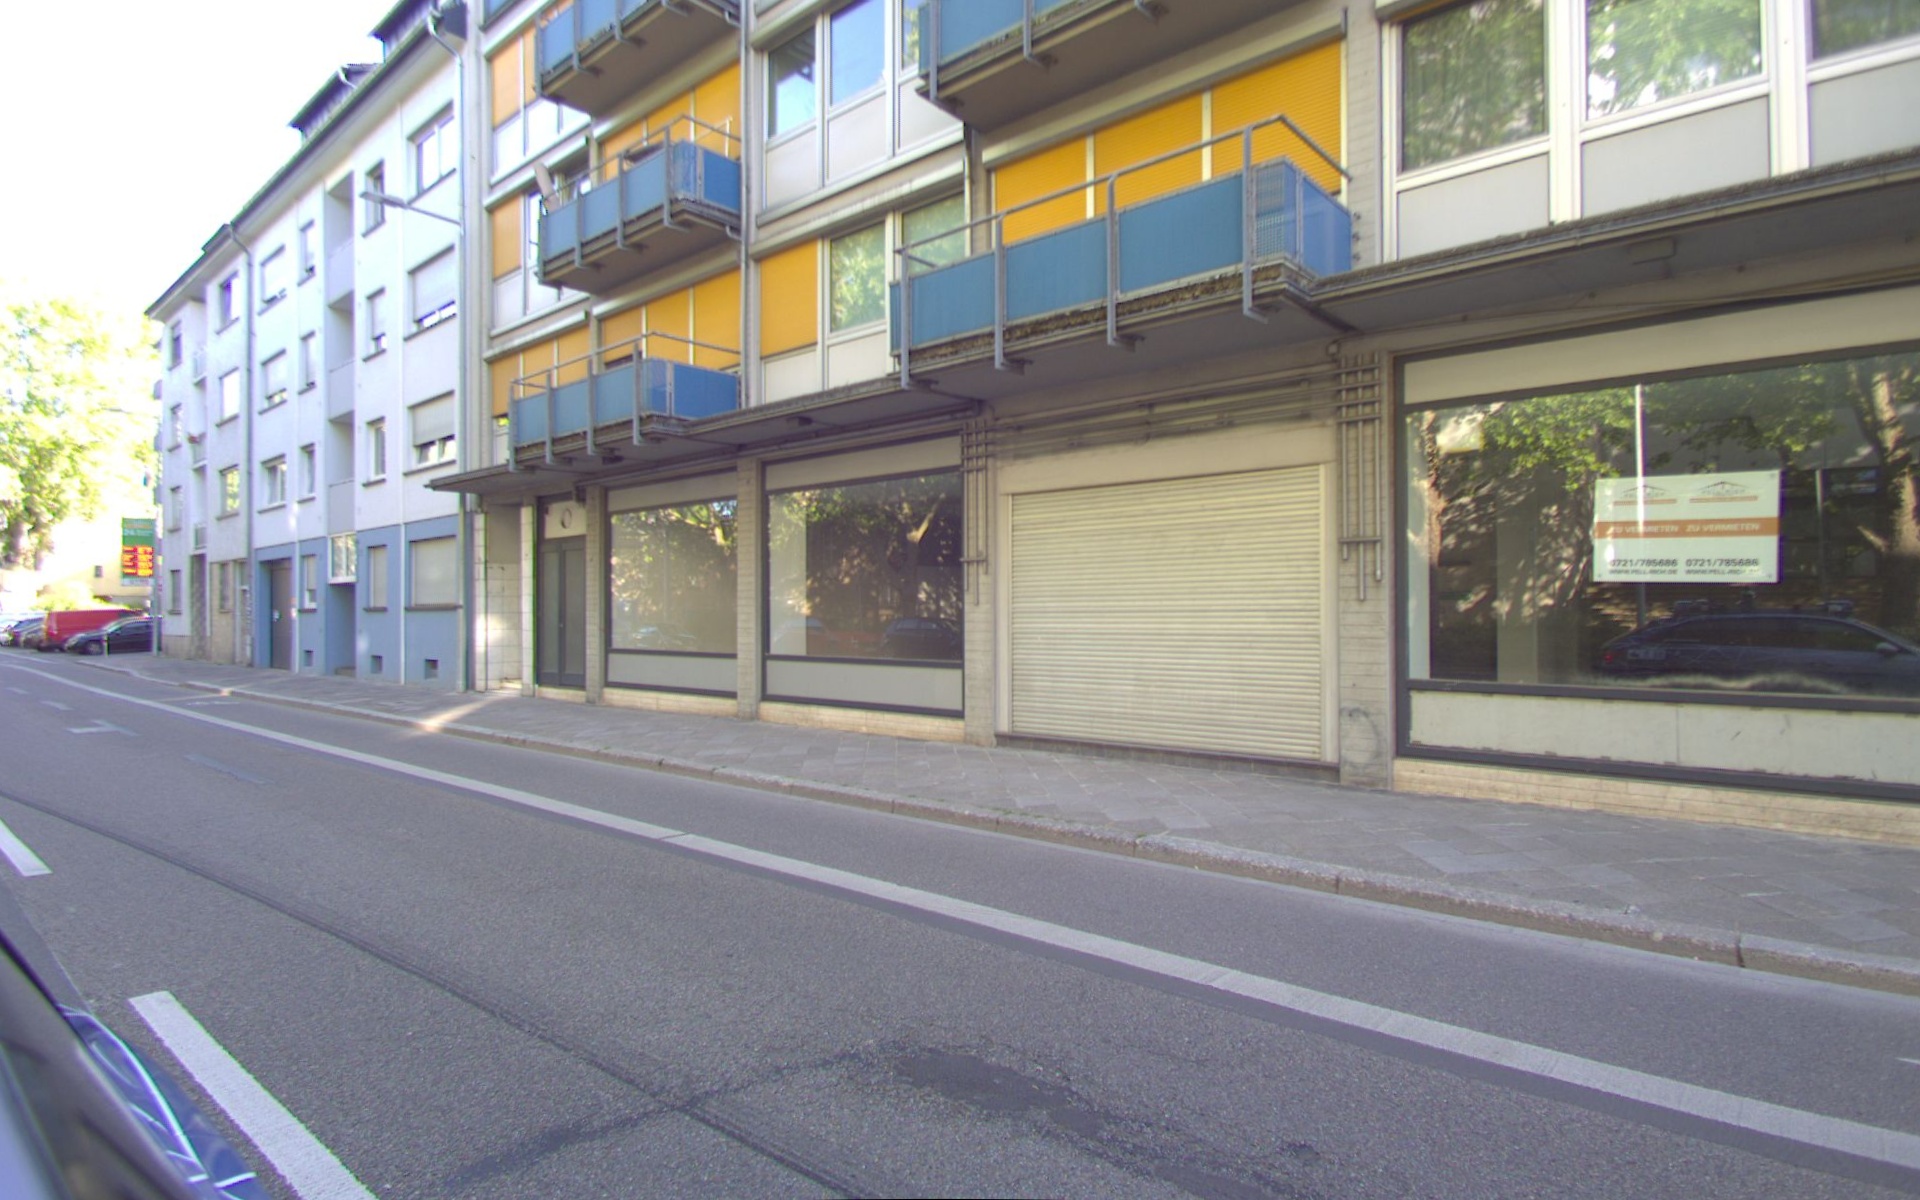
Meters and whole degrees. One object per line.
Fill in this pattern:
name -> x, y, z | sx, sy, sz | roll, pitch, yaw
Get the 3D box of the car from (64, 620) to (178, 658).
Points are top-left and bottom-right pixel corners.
car -> -38.040, 1.728, 45.937 | 1.657, 1.583, 3.762 | -1, 0, 41

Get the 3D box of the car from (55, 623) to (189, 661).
car -> -36.490, 1.791, 44.154 | 1.657, 1.417, 4.269 | -1, 0, 40

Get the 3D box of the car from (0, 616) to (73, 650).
car -> -59.337, 2.092, 64.397 | 2.000, 2.052, 4.180 | -1, 0, 43

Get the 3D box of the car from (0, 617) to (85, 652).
car -> -56.054, 2.063, 61.467 | 2.000, 1.971, 4.180 | -1, 0, 43

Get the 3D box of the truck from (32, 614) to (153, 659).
truck -> -40.714, 1.645, 47.567 | 1.999, 1.939, 4.040 | -1, 0, 40
